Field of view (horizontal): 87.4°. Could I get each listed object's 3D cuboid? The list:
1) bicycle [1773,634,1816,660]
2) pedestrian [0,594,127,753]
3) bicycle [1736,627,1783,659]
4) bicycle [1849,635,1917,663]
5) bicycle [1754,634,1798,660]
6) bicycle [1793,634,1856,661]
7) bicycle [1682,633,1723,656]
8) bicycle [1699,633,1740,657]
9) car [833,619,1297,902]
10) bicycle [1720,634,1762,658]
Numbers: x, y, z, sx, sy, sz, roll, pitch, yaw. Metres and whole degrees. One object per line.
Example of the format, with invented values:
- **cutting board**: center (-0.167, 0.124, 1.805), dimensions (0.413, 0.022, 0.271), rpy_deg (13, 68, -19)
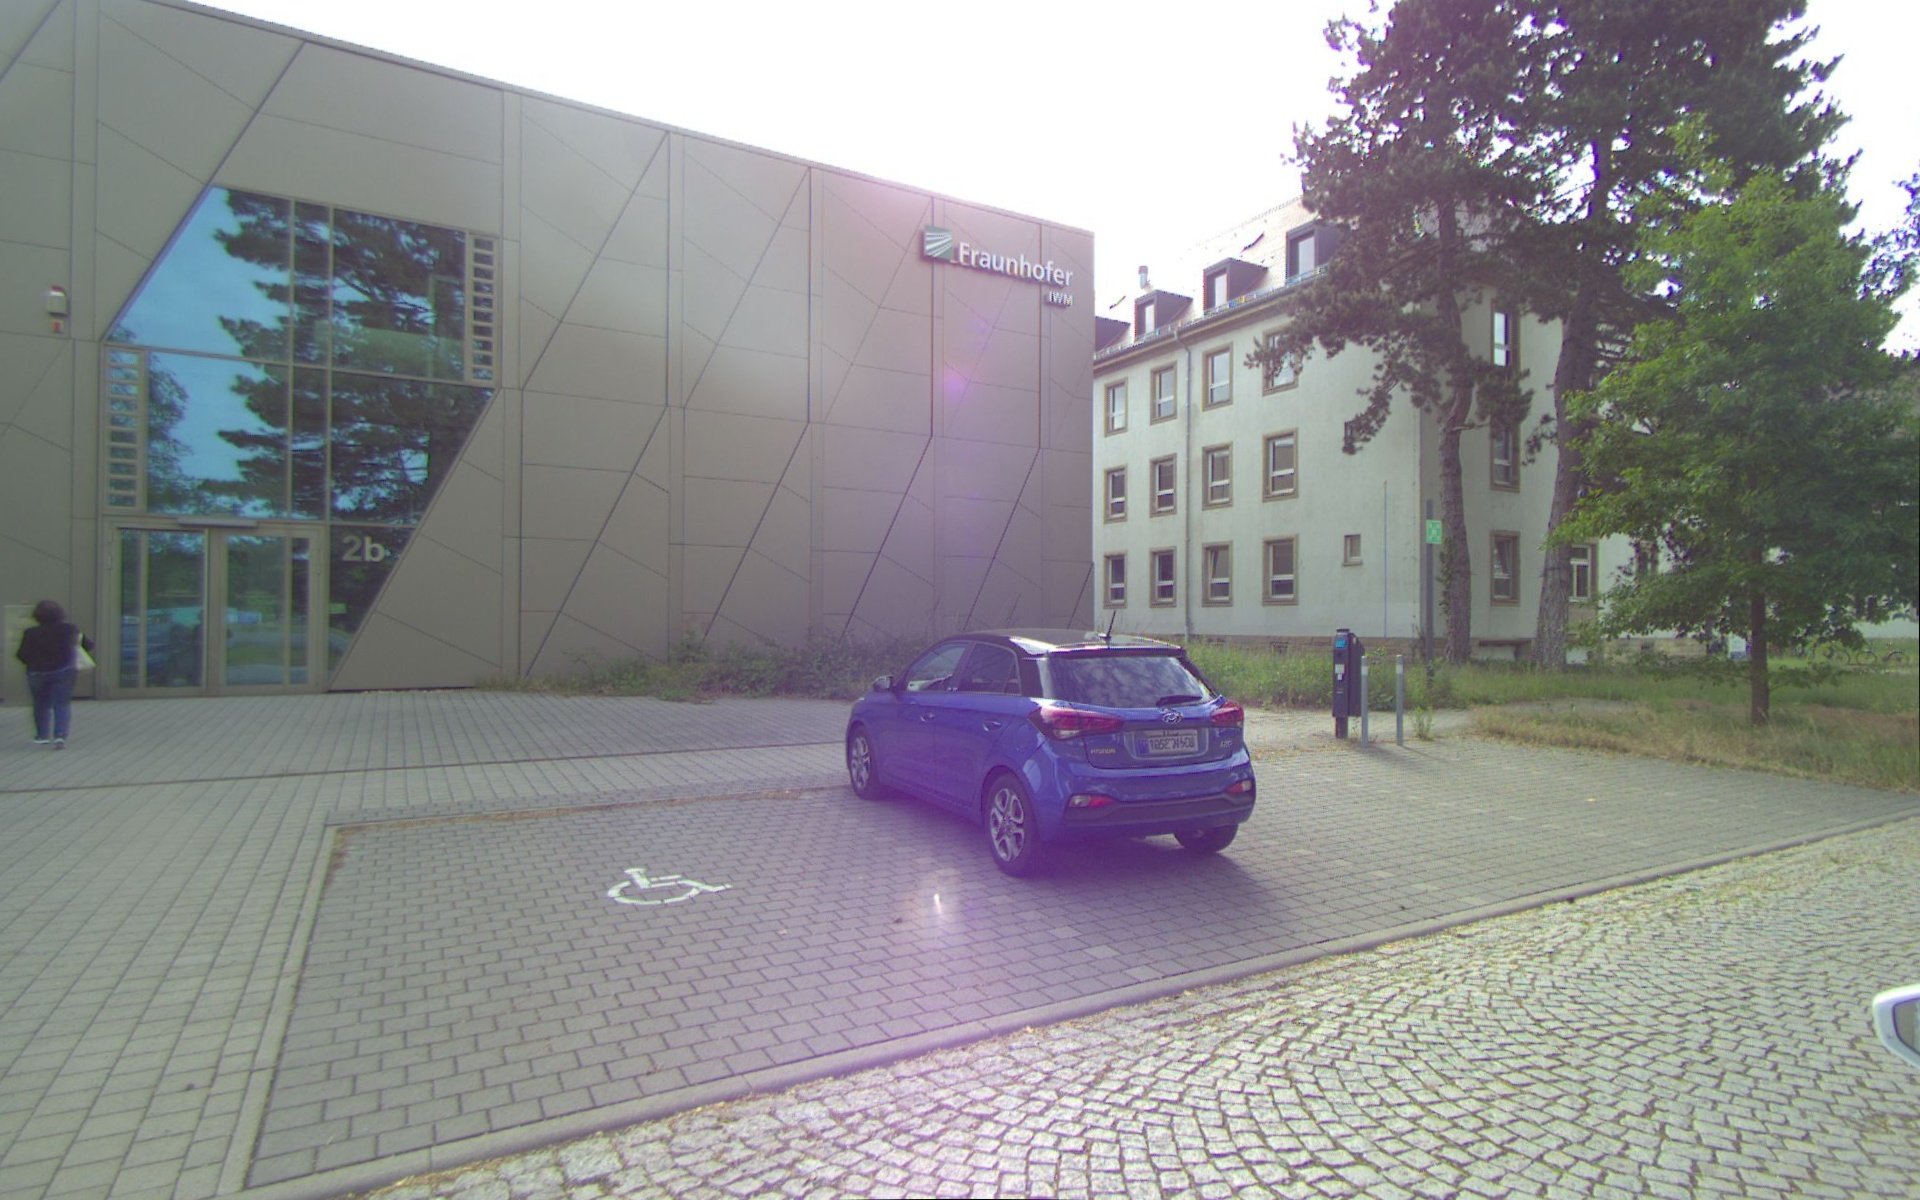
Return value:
- **bicycle**: center (36.657, 2.059, 44.127), dimensions (2.246, 1.090, 0.732), rpy_deg (1, -1, -30)
- **pedestrian**: center (-9.250, 0.711, 10.276), dimensions (0.969, 1.514, 0.817), rpy_deg (2, 0, 31)
- **bicycle**: center (36.225, 1.945, 45.477), dimensions (2.679, 1.404, 0.732), rpy_deg (1, -1, -30)
- **bicycle**: center (37.249, 1.976, 40.574), dimensions (0.821, 1.090, 1.849), rpy_deg (1, -2, -27)
- **bicycle**: center (36.280, 2.076, 44.648), dimensions (2.246, 1.090, 0.732), rpy_deg (1, -1, -30)
- **bicycle**: center (36.308, 2.000, 42.202), dimensions (0.729, 1.090, 1.849), rpy_deg (1, -2, -27)
- **bicycle**: center (34.909, 2.084, 47.223), dimensions (2.246, 1.090, 0.732), rpy_deg (1, -1, -30)
- **bicycle**: center (35.201, 2.072, 46.547), dimensions (2.246, 1.090, 0.732), rpy_deg (1, -1, -30)
- **car**: center (0.514, 0.946, 7.728), dimensions (1.828, 1.497, 3.752), rpy_deg (1, 0, -27)
- **bicycle**: center (35.932, 2.095, 46.230), dimensions (2.246, 1.090, 0.732), rpy_deg (1, -1, -30)
